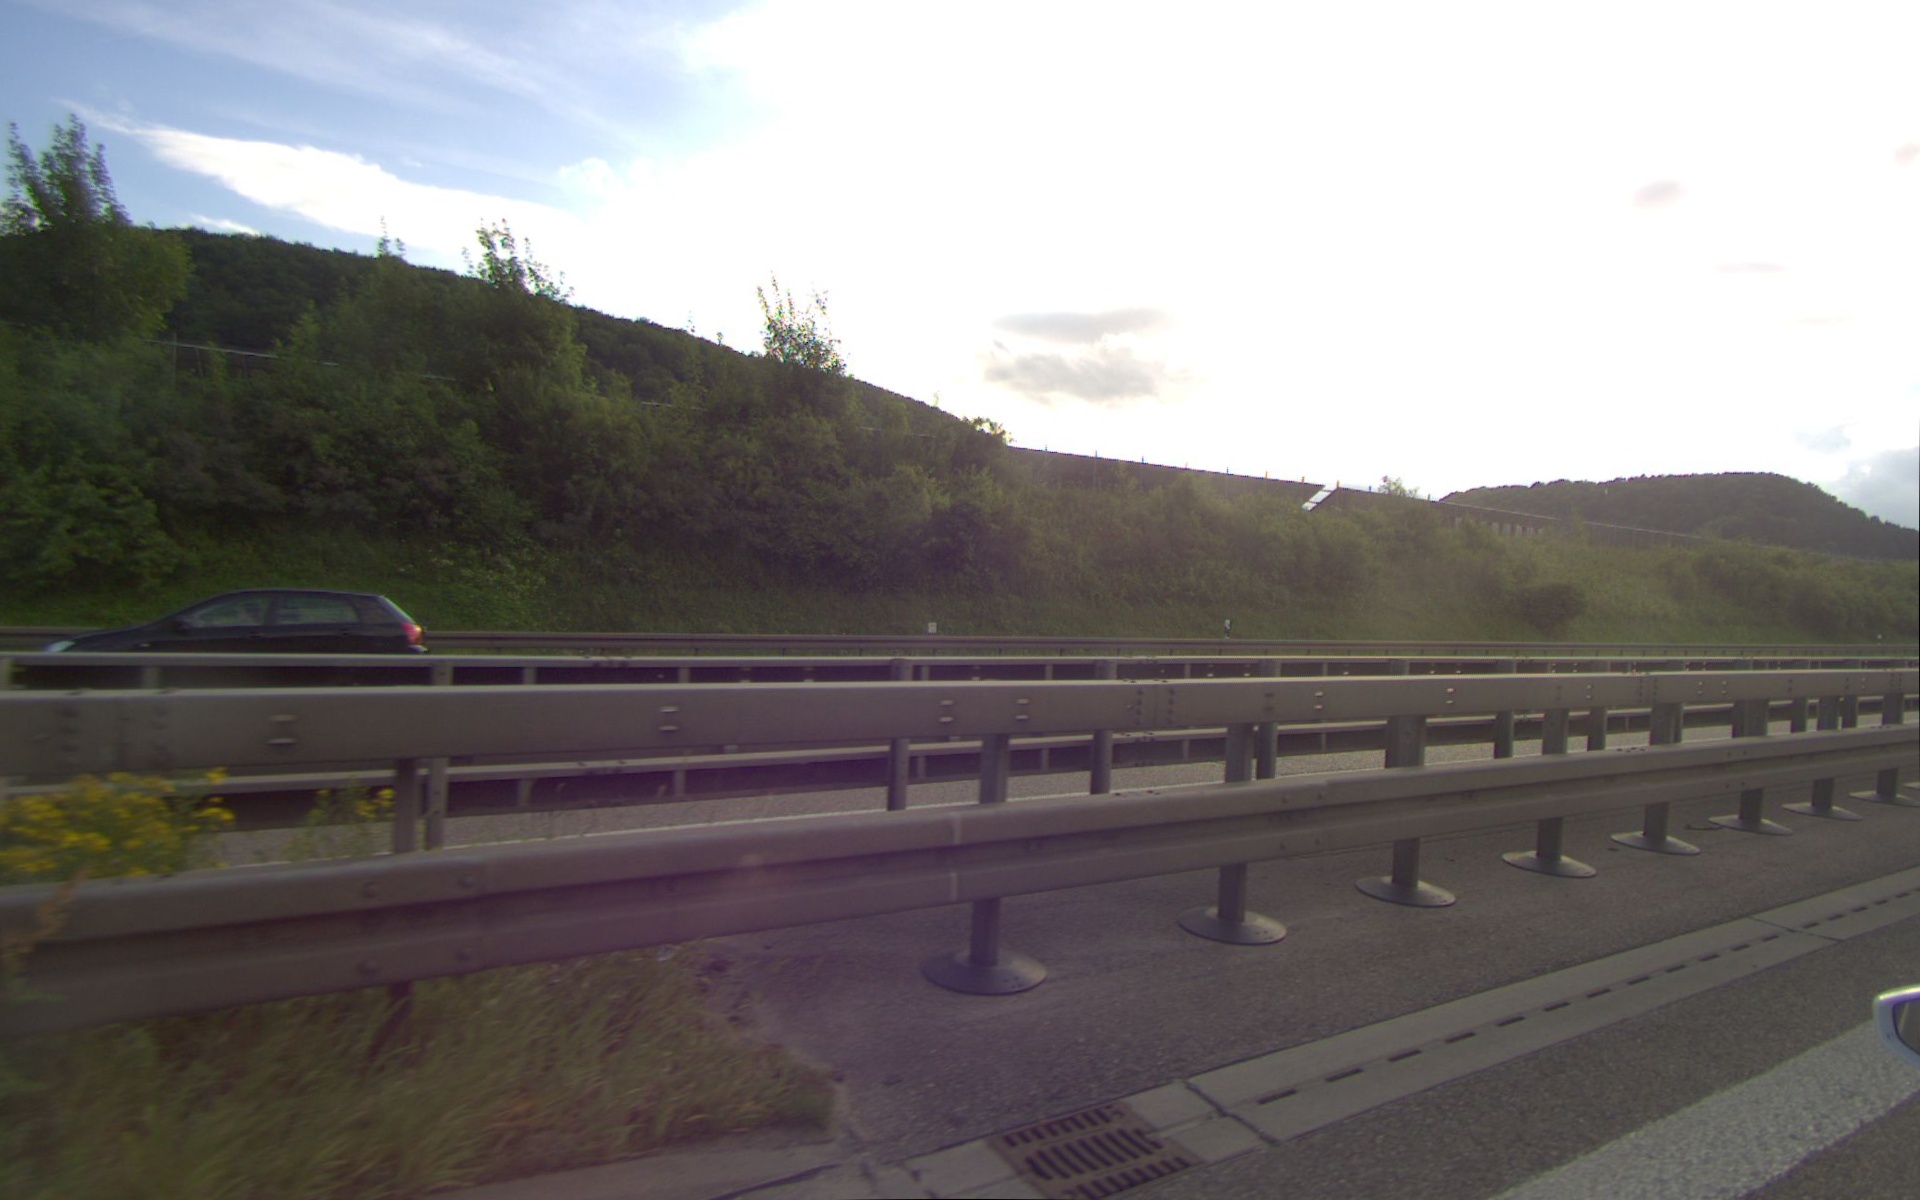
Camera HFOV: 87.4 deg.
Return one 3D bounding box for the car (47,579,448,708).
[{"bbox_3d":[-8.889,0.530,12.942,3.955,1.434,1.697,2,0,-32],"label":"car"}]
